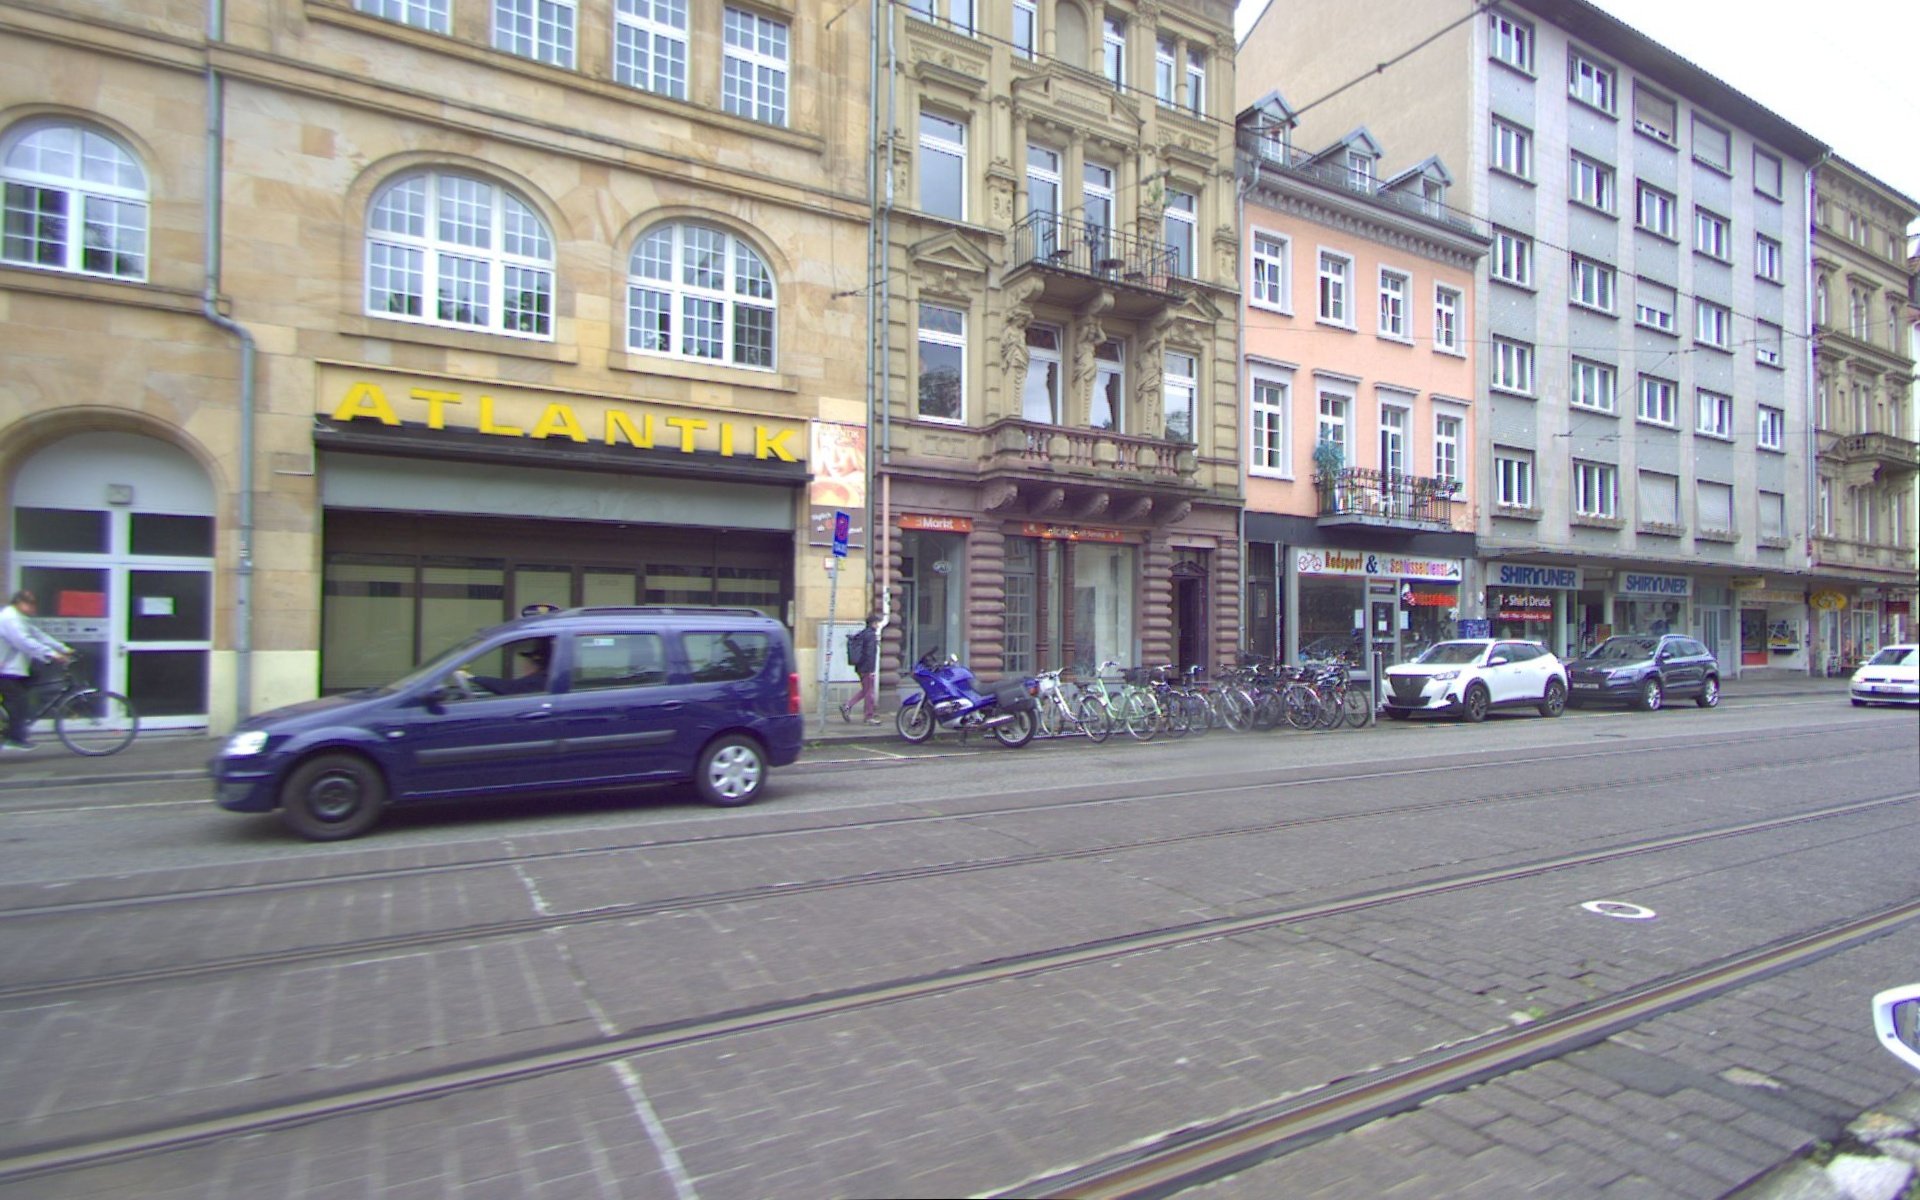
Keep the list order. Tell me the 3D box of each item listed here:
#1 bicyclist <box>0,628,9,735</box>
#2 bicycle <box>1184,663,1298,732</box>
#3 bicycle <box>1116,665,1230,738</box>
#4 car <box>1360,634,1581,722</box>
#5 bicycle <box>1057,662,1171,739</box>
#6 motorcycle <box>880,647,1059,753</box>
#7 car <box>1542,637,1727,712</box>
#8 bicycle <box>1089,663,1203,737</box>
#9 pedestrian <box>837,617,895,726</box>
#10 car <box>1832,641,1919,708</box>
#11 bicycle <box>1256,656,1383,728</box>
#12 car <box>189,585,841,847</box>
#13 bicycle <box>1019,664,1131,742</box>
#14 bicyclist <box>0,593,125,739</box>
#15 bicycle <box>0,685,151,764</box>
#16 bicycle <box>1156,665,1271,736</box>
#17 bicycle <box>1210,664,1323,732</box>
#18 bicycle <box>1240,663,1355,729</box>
[{"bbox_3d":[-10.425,0.857,10.425,0.652,1.132,0.608,1,-2,-30],"label":"bicyclist"},{"bbox_3d":[4.631,1.589,16.694,0.459,1.014,1.952,2,-2,-37],"label":"bicycle"},{"bbox_3d":[3.319,1.560,15.818,0.459,1.014,1.952,2,-2,-37],"label":"bicycle"},{"bbox_3d":[9.917,1.440,19.449,4.350,1.524,1.767,1,-2,-31],"label":"car"},{"bbox_3d":[2.276,1.476,15.082,0.459,1.014,1.952,2,-2,-37],"label":"bicycle"},{"bbox_3d":[0.126,1.316,13.739,2.299,1.320,0.883,0,-2,24],"label":"motorcycle"},{"bbox_3d":[15.180,1.619,22.564,4.350,1.524,1.767,1,-2,-31],"label":"car"},{"bbox_3d":[2.844,1.513,15.523,0.459,1.014,1.952,2,-2,-37],"label":"bicycle"},{"bbox_3d":[-1.436,1.082,15.354,0.710,1.619,0.565,1,-2,-30],"label":"pedestrian"},{"bbox_3d":[22.122,1.681,23.290,4.087,1.439,1.679,1,-2,-31],"label":"car"},{"bbox_3d":[6.285,1.579,17.704,0.499,1.141,2.215,2,-2,-37],"label":"bicycle"},{"bbox_3d":[-3.445,0.823,8.436,4.560,1.693,1.751,1,-2,-30],"label":"car"},{"bbox_3d":[1.644,1.469,14.675,0.459,1.014,1.908,2,-2,-37],"label":"bicycle"},{"bbox_3d":[-9.727,0.693,10.844,0.960,1.507,0.608,1,-2,-30],"label":"bicyclist"},{"bbox_3d":[-10.034,1.318,10.618,2.224,0.755,0.579,1,-2,-30],"label":"bicycle"},{"bbox_3d":[4.058,1.583,16.197,0.459,1.014,1.952,2,-2,-37],"label":"bicycle"},{"bbox_3d":[5.142,1.628,16.965,0.459,1.014,1.952,2,-2,-37],"label":"bicycle"},{"bbox_3d":[5.747,1.613,17.205,0.459,1.014,1.952,2,-2,-37],"label":"bicycle"}]
